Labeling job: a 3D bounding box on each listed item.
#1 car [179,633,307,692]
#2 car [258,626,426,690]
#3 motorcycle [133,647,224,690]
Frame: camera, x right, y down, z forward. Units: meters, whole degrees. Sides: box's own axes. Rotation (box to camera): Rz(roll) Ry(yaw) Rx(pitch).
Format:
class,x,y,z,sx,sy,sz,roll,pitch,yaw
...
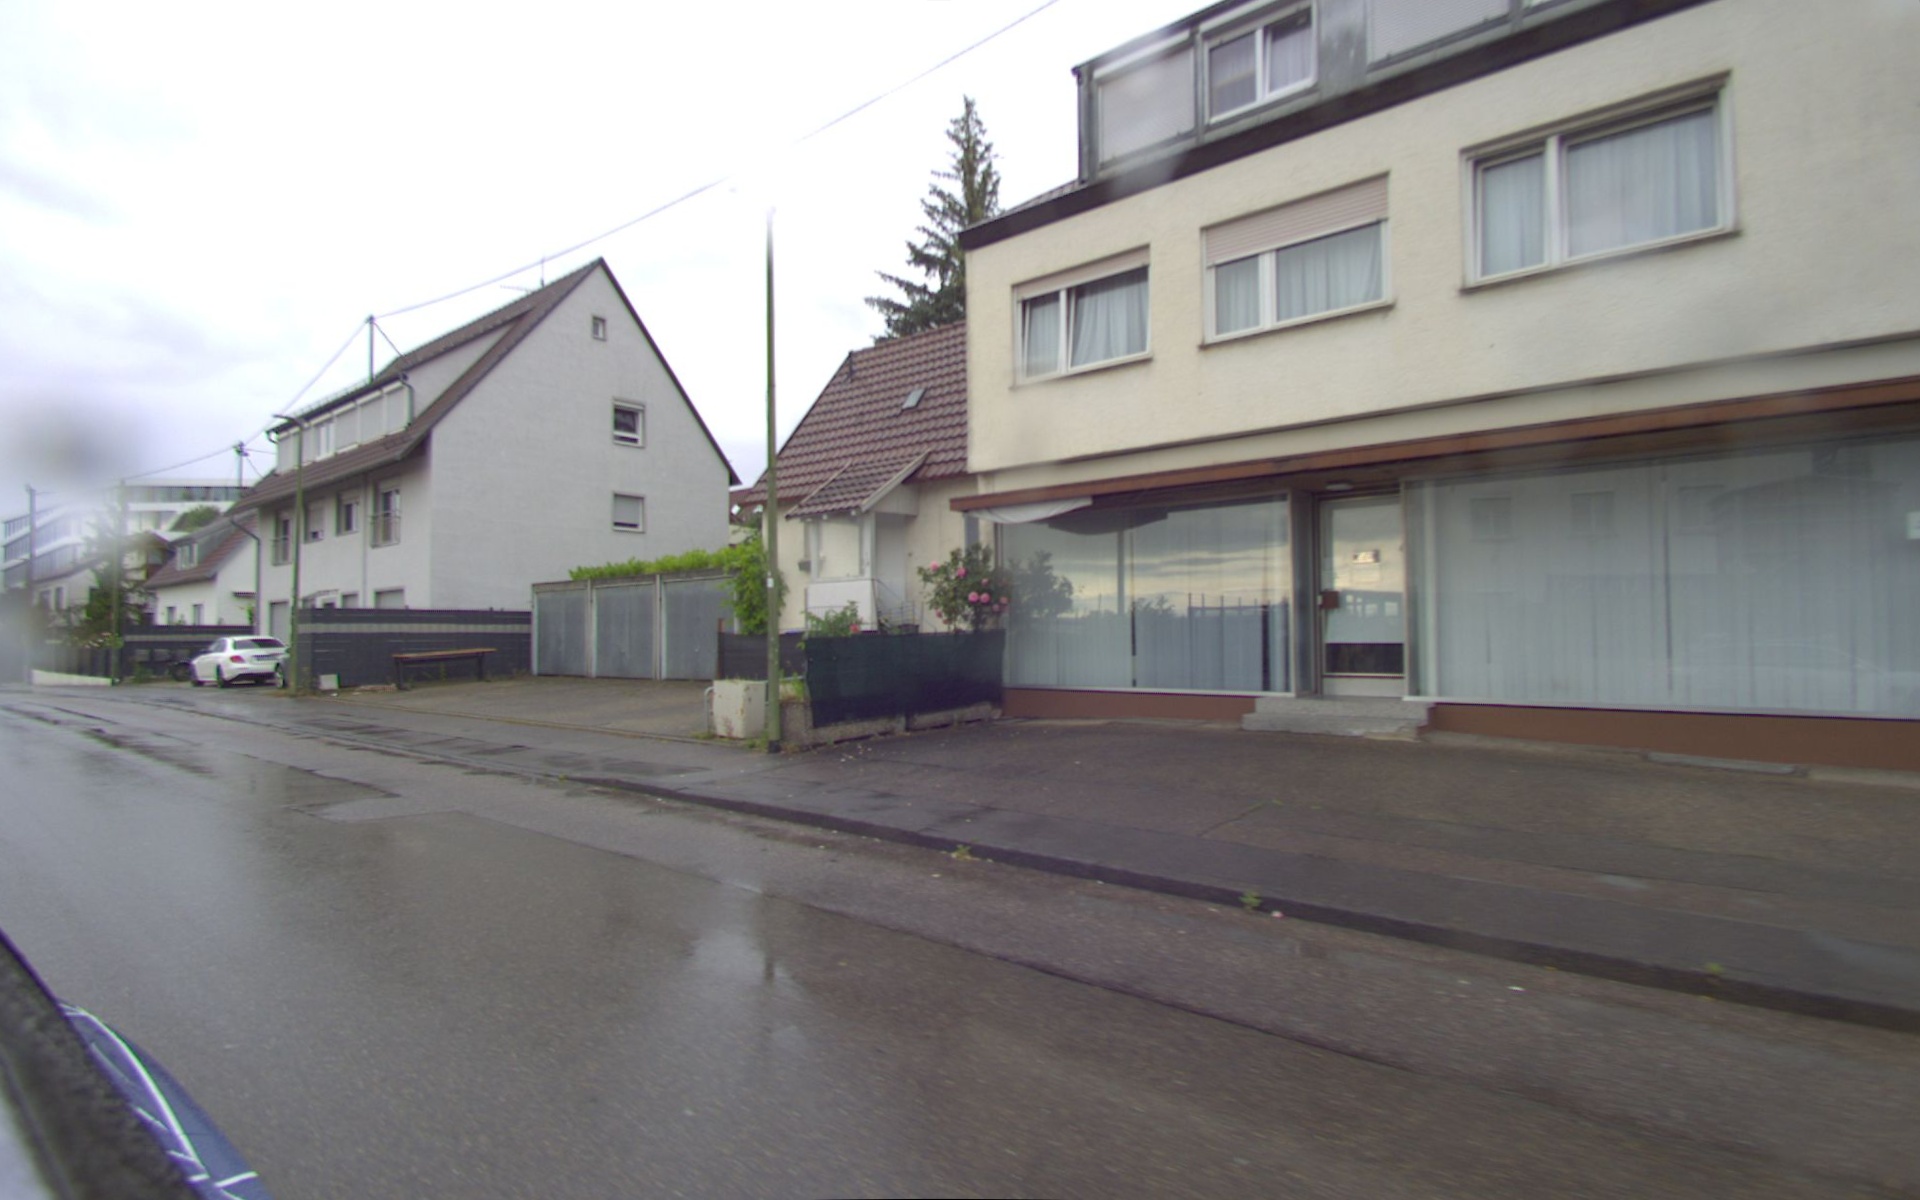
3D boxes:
class,x,y,z,sx,sy,sz,roll,pitch,yaw
car,-21.440,1.860,30.192,4.892,1.521,1.973,-4,-1,41
car,-15.583,1.470,25.460,4.556,1.379,1.812,-4,-1,34
motorcycle,-26.787,2.326,34.706,0.736,1.283,2.338,-4,-1,41
